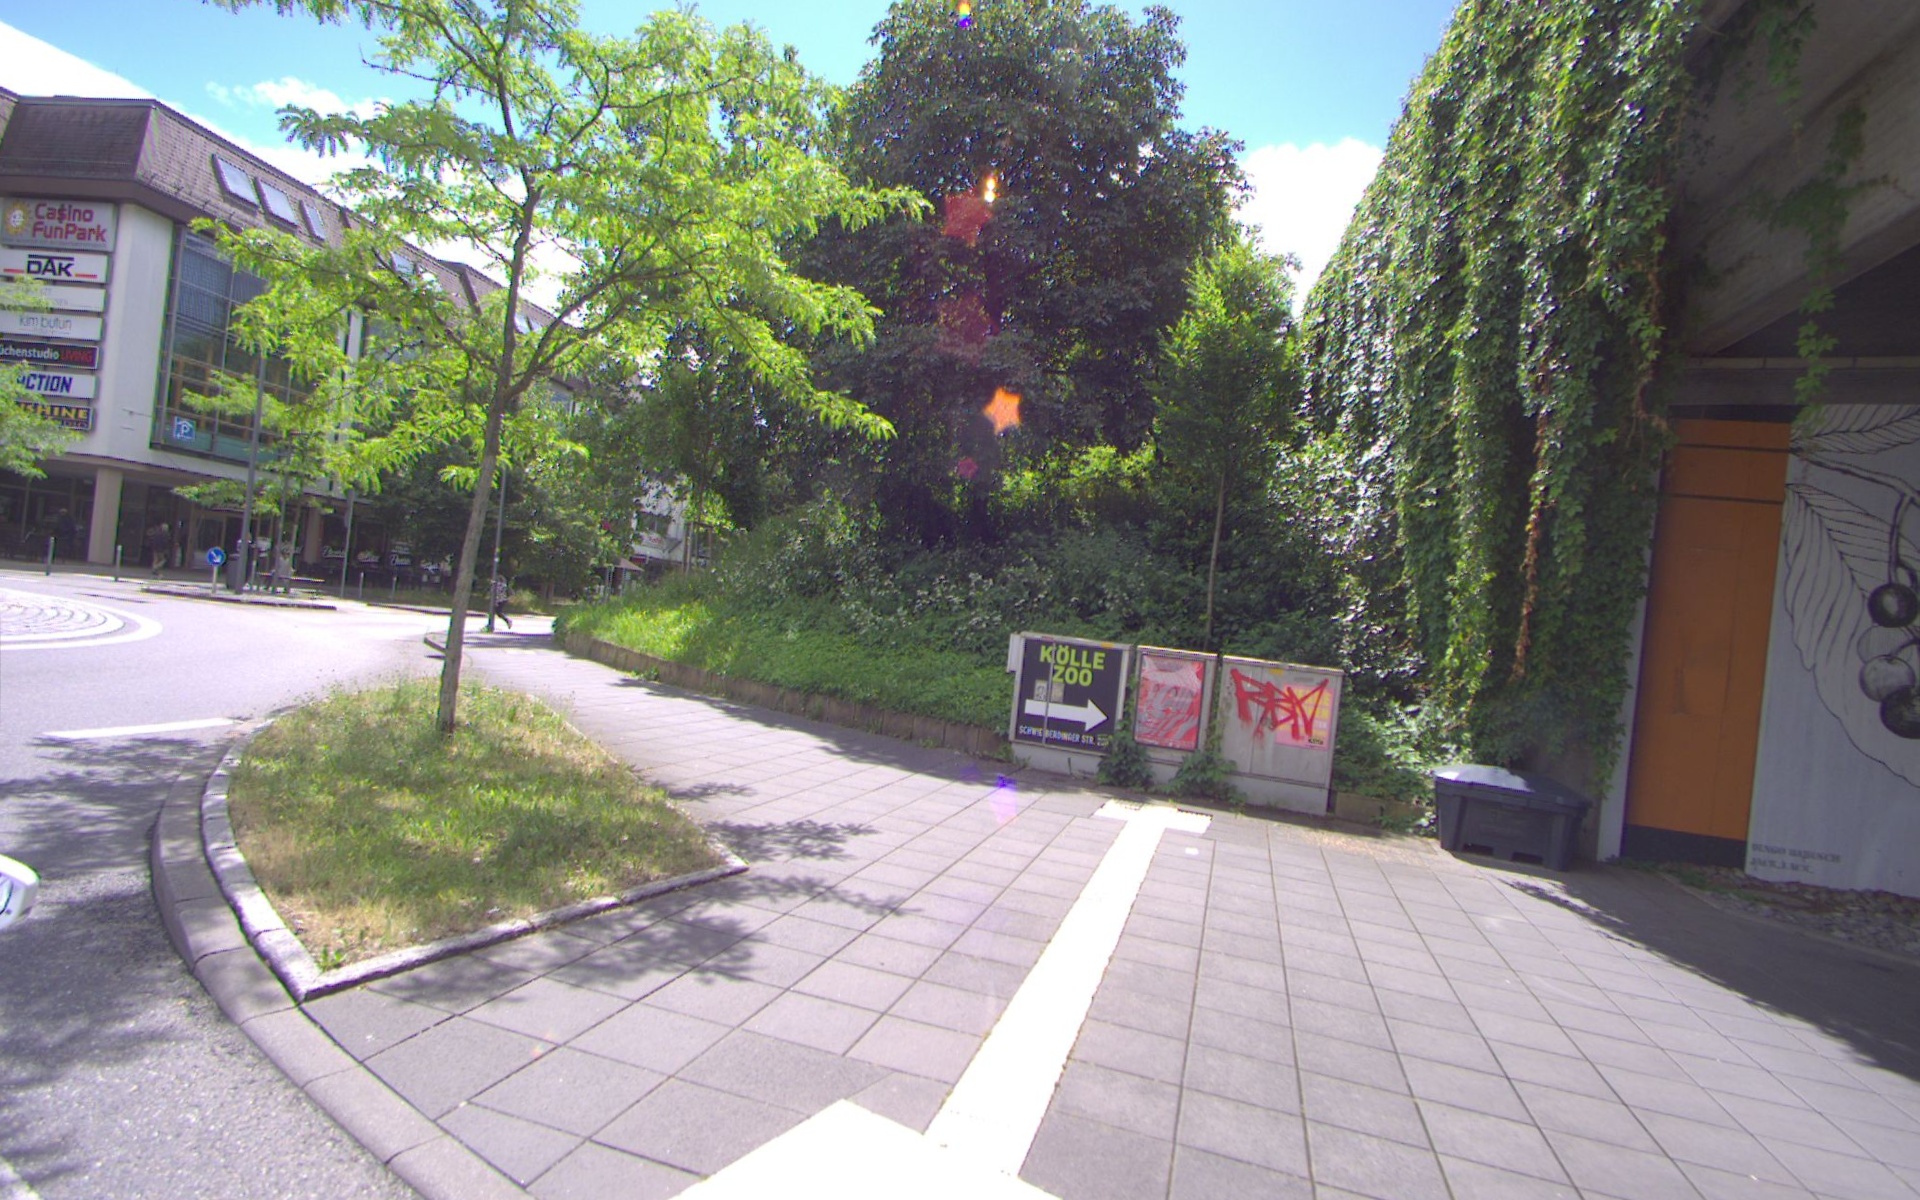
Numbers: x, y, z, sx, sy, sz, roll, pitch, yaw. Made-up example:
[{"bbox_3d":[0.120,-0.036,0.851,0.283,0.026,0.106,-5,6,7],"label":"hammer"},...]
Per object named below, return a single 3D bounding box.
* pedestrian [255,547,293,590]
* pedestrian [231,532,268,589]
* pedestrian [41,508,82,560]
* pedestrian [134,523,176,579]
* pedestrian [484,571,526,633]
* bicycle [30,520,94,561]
[{"bbox_3d":[-22.760,-1.033,33.387,0.685,1.300,0.618,7,-1,20],"label":"pedestrian"},{"bbox_3d":[-23.782,-1.315,33.659,0.684,1.843,0.617,7,3,13],"label":"pedestrian"},{"bbox_3d":[-32.017,-2.339,35.835,0.605,1.694,0.698,7,-1,8],"label":"pedestrian"},{"bbox_3d":[-26.236,-1.579,32.782,0.606,1.694,0.697,7,-1,-5],"label":"pedestrian"},{"bbox_3d":[-12.547,0.050,27.765,0.759,1.572,0.772,8,-1,-35],"label":"pedestrian"},{"bbox_3d":[-31.914,-2.098,35.775,1.532,1.181,0.491,9,-3,-39],"label":"bicycle"}]
